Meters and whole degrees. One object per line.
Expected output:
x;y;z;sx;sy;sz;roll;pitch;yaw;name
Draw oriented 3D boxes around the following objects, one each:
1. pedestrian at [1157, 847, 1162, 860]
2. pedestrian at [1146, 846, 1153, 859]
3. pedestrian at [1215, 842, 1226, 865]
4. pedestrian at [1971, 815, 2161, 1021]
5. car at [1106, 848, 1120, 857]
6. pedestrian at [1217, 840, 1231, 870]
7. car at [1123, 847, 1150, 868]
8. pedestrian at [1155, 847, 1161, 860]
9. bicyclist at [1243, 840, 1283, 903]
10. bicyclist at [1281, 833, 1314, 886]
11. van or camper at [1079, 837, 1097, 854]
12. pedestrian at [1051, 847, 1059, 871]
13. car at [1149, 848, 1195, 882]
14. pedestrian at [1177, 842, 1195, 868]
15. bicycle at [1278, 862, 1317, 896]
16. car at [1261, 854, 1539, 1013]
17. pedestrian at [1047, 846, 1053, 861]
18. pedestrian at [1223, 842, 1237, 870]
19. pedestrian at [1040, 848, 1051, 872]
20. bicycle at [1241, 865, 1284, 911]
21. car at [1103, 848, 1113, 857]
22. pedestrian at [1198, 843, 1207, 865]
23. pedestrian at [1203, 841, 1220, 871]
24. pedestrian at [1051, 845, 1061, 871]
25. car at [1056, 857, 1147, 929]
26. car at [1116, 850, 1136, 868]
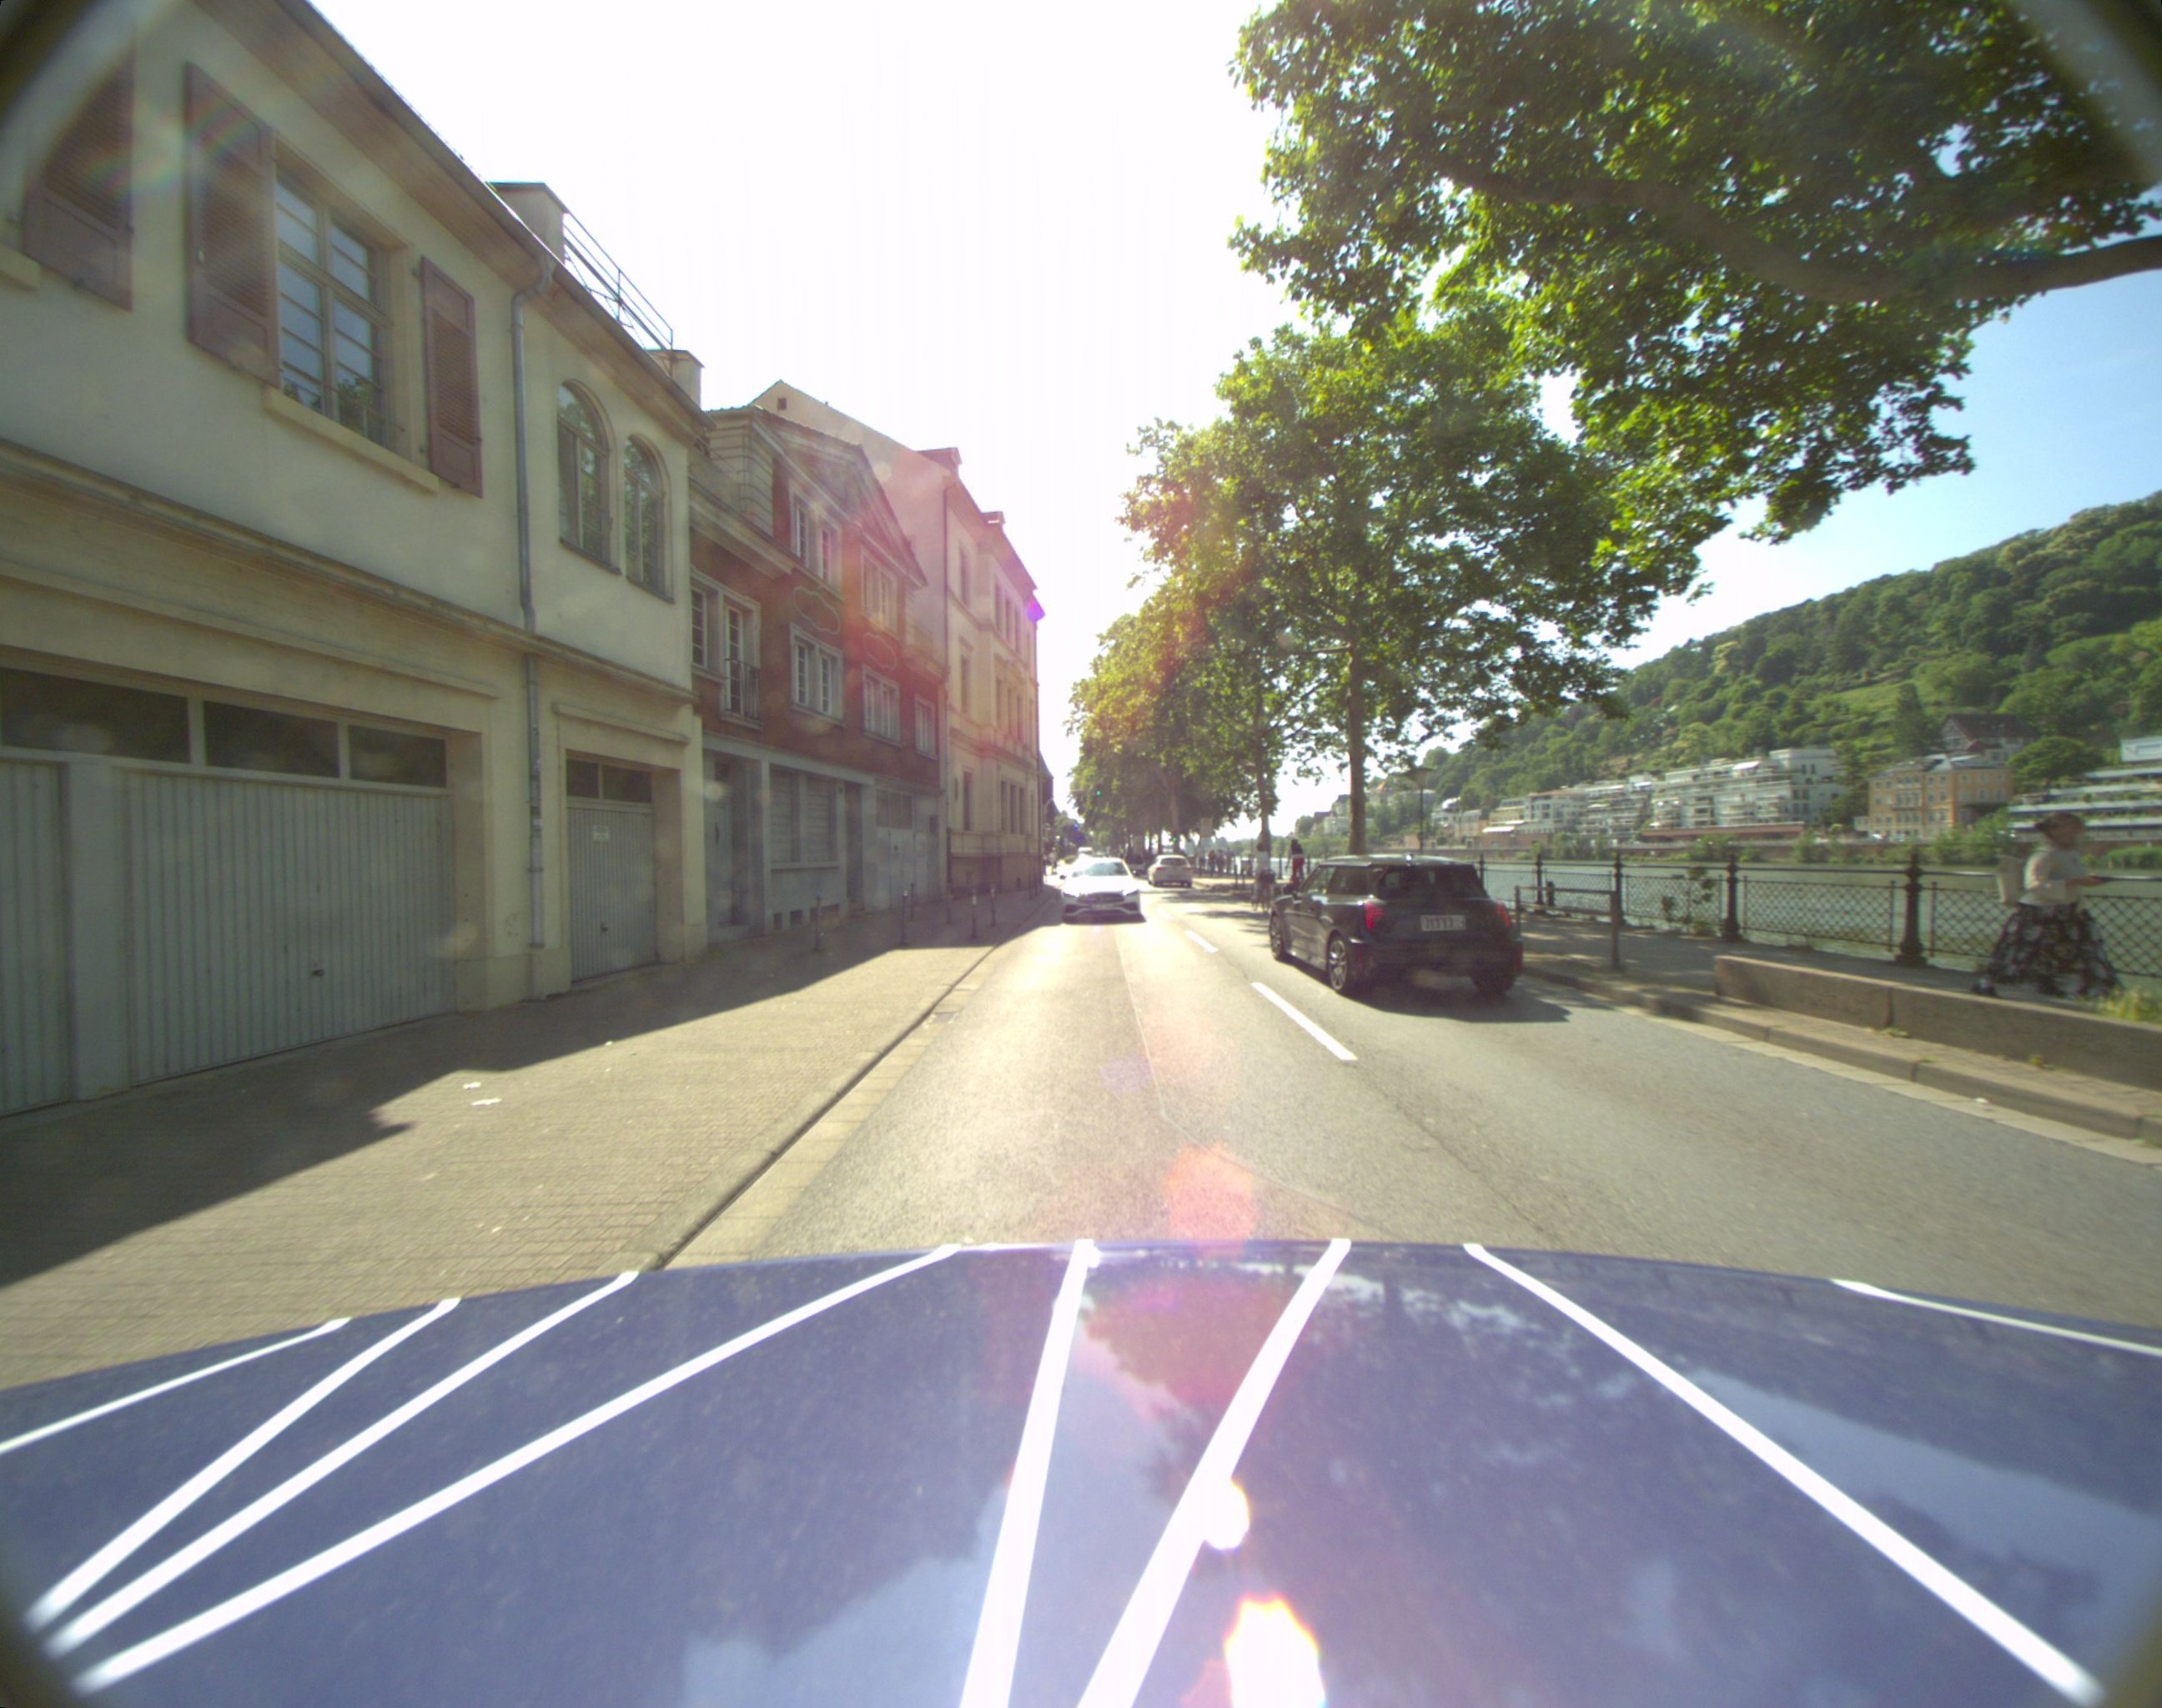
10.217;-0.080;98.998;0.633;1.618;0.553;0;1;0;pedestrian
9.042;-0.168;100.349;0.760;1.720;0.730;0;1;0;pedestrian
9.975;-0.015;54.413;0.550;1.599;0.911;-3;1;0;pedestrian
8.041;0.489;6.181;0.763;1.577;0.696;0;1;0;pedestrian
4.913;-0.315;117.024;1.845;1.262;4.261;3;1;0;car
8.343;0.048;44.364;0.654;1.704;0.793;1;1;-1;pedestrian
4.173;0.257;57.654;1.739;1.509;4.404;-1;1;1;car
10.068;-0.047;99.173;0.793;1.673;0.709;0;1;0;pedestrian
4.587;0.442;19.187;0.768;1.522;1.025;-2;-1;3;bicyclist
6.633;0.157;23.319;0.721;1.574;1.089;0;1;3;bicyclist
1.000;-1.140;106.003;2.437;2.271;6.203;0;1;0;van or camper
-1.826;0.367;53.810;0.528;1.702;0.665;0;1;0;pedestrian
4.180;0.508;35.271;1.705;1.436;4.092;-2;-1;1;car
7.355;0.051;53.248;1.022;1.763;0.770;1;1;41;pedestrian
6.638;0.750;23.388;0.756;0.973;1.953;0;0;3;bicycle
3.462;0.750;9.131;1.705;1.450;4.002;0;1;1;car
-3.872;-0.067;95.418;0.556;1.844;1.024;0;1;13;pedestrian
9.344;0.102;47.614;0.713;1.754;0.972;0;1;0;pedestrian
-2.449;0.405;52.654;0.717;1.666;0.682;0;1;0;pedestrian
4.558;0.834;19.185;0.742;1.071;1.954;-2;0;5;bicycle
4.966;-0.326;139.836;1.705;1.509;4.404;0;1;2;car
8.794;-0.021;54.852;0.495;1.608;0.991;0;1;0;pedestrian
7.556;0.105;44.081;0.837;1.704;0.782;0;1;0;pedestrian
-1.800;0.264;54.479;0.618;1.841;0.730;0;1;1;pedestrian
0.465;0.820;18.150;1.875;1.416;4.744;-1;0;1;car
4.196;0.460;71.881;1.705;1.509;4.404;2;1;2;car
